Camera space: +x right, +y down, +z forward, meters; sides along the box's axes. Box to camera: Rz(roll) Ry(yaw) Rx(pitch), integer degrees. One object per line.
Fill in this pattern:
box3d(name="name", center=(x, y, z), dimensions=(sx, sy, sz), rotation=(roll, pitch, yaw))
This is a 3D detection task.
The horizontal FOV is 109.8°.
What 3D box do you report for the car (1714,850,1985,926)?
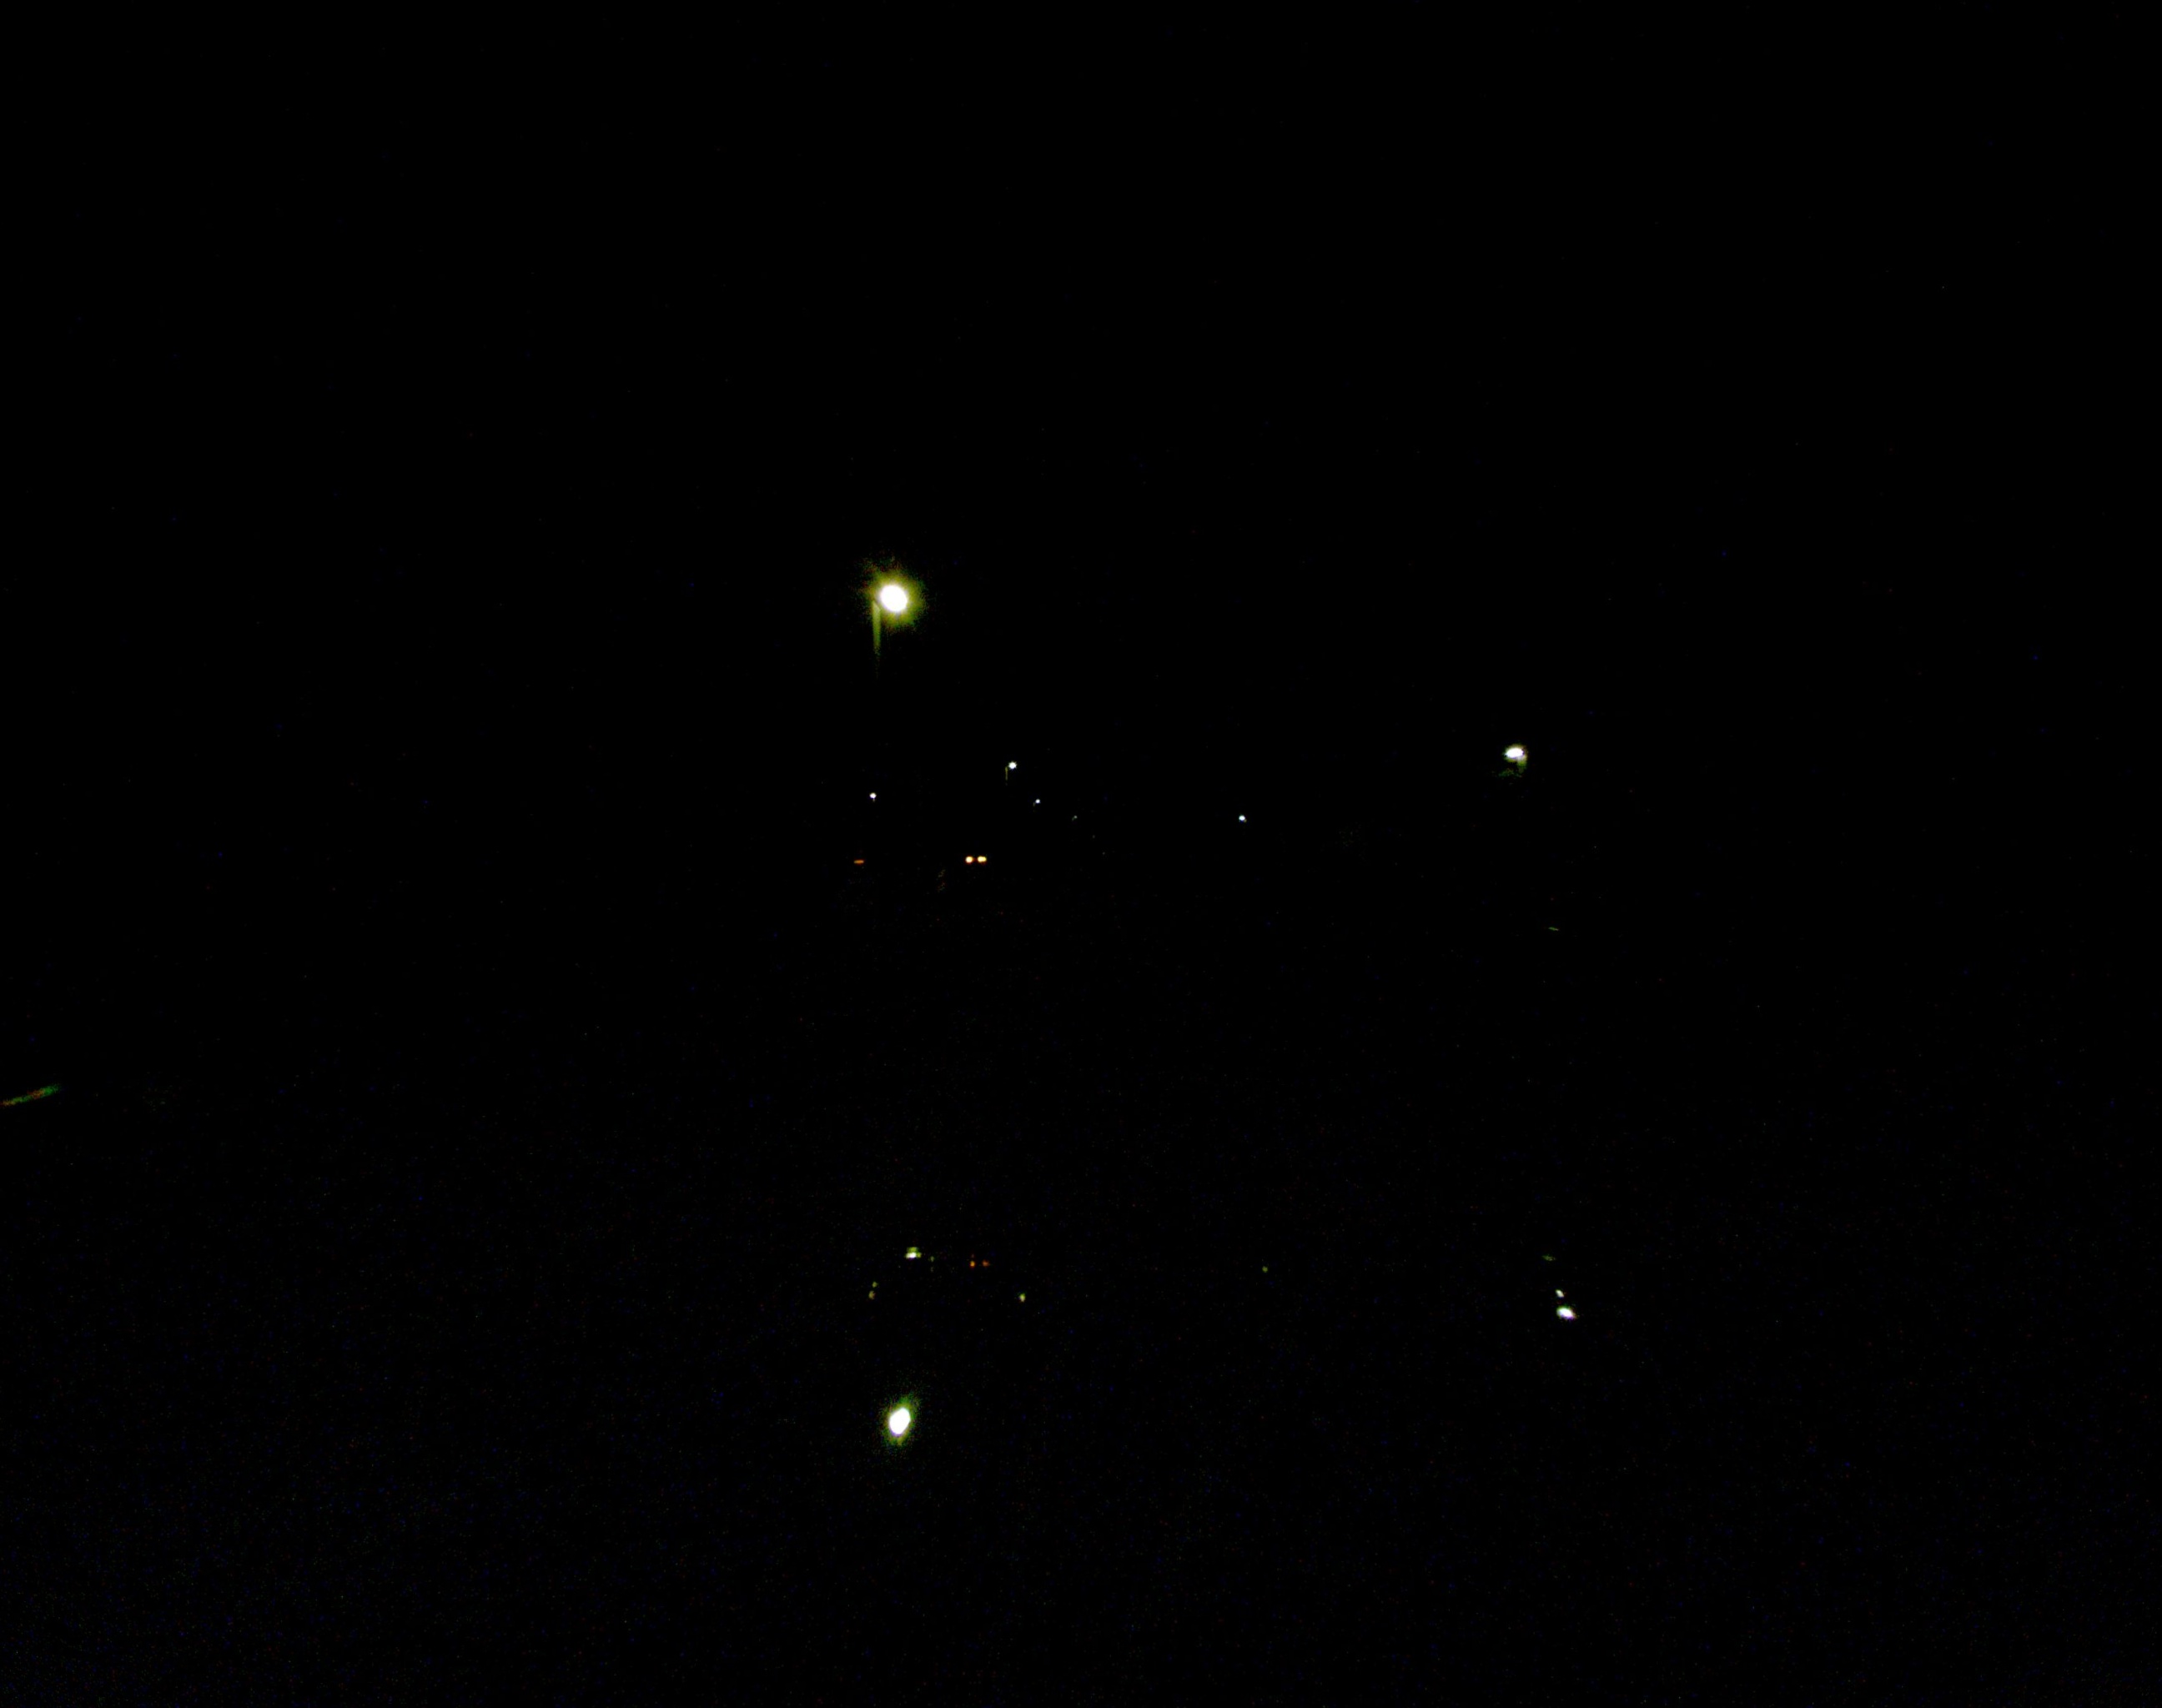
box3d(name="car", center=(16.861, 0.652, 17.037), dimensions=(1.870, 1.496, 4.094), rotation=(0, 0, -2))
